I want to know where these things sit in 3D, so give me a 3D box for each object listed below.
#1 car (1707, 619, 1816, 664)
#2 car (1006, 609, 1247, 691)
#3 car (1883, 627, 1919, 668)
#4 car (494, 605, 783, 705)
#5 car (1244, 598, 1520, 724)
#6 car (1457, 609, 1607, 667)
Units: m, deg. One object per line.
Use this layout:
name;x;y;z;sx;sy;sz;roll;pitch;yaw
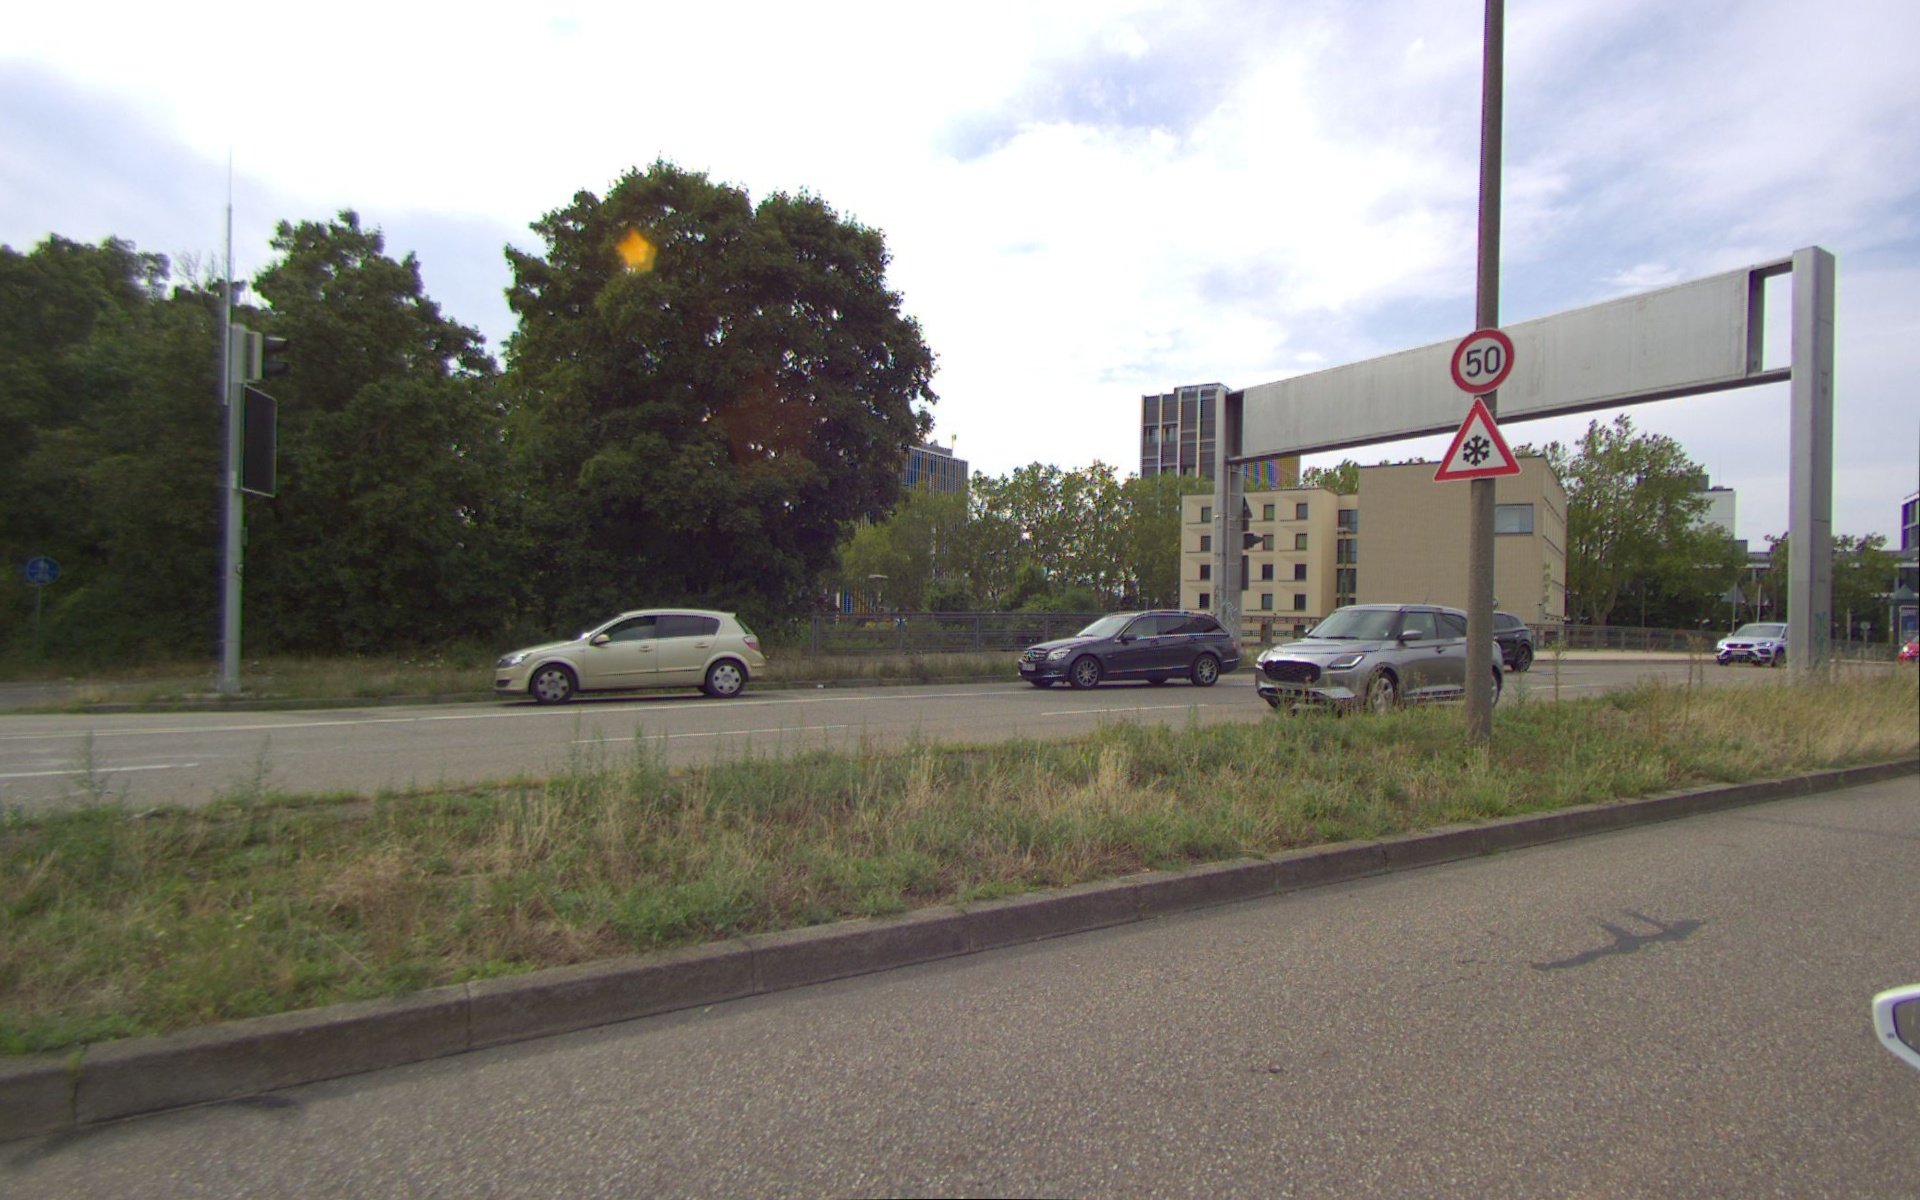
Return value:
car;28.895;1.482;36.203;4.141;1.545;1.783;2;-2;-32
car;3.237;0.943;19.383;4.457;1.444;1.661;1;-2;-25
car;35.496;1.731;36.590;3.755;1.460;1.783;2;-2;-32
car;-5.154;0.846;16.252;4.253;1.438;1.661;1;0;-24
car;5.903;0.767;13.949;3.819;1.506;1.684;1;0;-33
car;16.363;1.096;28.679;4.542;1.545;1.783;2;-2;-32
